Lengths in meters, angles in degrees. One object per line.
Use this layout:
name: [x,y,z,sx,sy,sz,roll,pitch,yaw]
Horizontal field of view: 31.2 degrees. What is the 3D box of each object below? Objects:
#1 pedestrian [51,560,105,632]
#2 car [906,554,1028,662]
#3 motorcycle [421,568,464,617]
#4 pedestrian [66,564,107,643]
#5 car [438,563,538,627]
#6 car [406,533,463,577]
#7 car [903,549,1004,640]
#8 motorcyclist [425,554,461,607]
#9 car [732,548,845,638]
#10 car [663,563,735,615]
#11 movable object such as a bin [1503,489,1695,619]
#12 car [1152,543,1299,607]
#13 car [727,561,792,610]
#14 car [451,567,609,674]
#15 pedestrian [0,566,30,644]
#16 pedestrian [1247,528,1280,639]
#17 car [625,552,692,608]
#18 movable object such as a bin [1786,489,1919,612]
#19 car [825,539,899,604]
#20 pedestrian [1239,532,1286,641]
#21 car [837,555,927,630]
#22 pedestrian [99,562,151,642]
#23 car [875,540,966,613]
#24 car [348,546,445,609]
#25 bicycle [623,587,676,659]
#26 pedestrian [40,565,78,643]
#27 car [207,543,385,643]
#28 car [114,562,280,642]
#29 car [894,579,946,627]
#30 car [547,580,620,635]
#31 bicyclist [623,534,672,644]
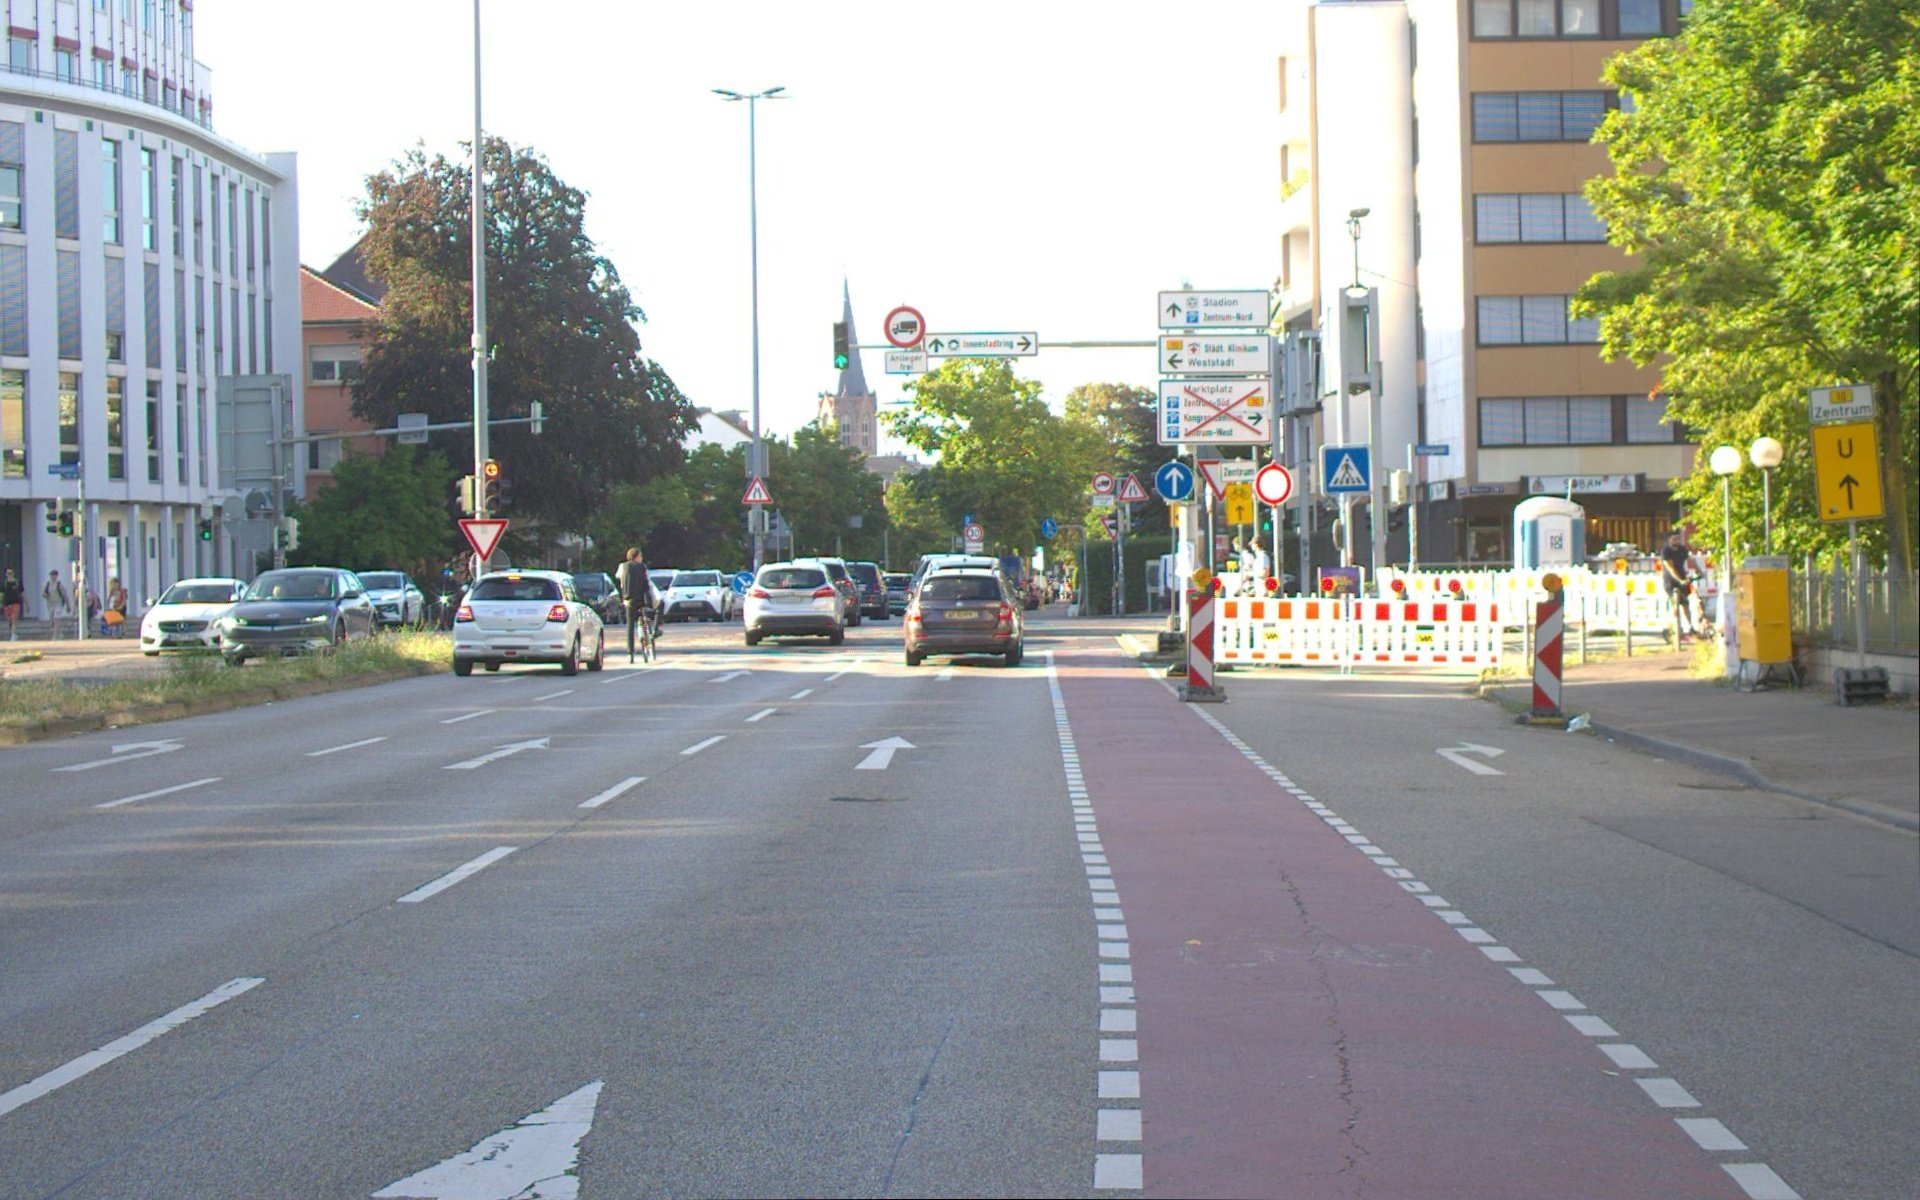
pedestrian: [-24.906,-0.119,97.042,1.092,2.007,1.035,-1,0,12]
car: [0.138,0.097,52.616,1.748,1.559,4.050,-1,1,1]
motorcycle: [-14.016,-0.219,93.100,0.770,1.280,2.843,-1,1,-1]
pedestrian: [-20.695,0.079,81.435,0.660,1.862,0.778,-1,0,7]
car: [-10.892,-0.137,79.550,1.685,1.387,4.181,-1,1,1]
car: [-19.145,-1.631,125.337,1.841,1.566,4.001,-1,0,-6]
car: [-0.124,-0.119,64.616,1.819,1.634,4.000,-1,1,0]
motorcyclist: [-14.020,-0.537,93.232,0.770,1.414,1.238,-1,0,-1]
car: [-3.119,-0.150,63.227,1.748,1.559,4.050,-1,1,1]
car: [-7.543,-0.339,99.602,1.847,1.456,4.050,-1,1,-2]
movable object such as a bin: [12.076,-0.864,65.085,3.328,2.375,1.529,-1,0,0]
car: [8.265,-0.779,107.276,4.363,1.871,2.000,-1,0,0]
car: [-6.123,-0.455,105.134,1.847,1.456,4.050,-1,1,-2]
car: [-6.149,0.262,49.533,1.685,1.452,4.000,0,1,1]
pedestrian: [-22.581,0.114,82.001,0.660,1.852,0.779,-1,0,-11]
pedestrian: [5.158,-0.277,58.376,0.520,1.862,0.614,-1,0,6]
car: [-9.970,-0.676,113.953,1.915,1.805,4.718,-1,1,-2]
movable object such as a bin: [20.167,-1.049,71.346,5.349,2.482,2.549,-1,0,-1]
car: [-2.554,-0.756,90.273,1.664,1.652,4.000,-1,1,2]
pedestrian: [5.067,-0.231,57.519,0.741,1.793,0.715,-1,0,6]
car: [-1.668,-0.192,75.001,1.748,1.559,4.050,-1,1,1]
pedestrian: [-19.776,0.038,81.439,0.627,1.862,1.126,-1,0,22]
car: [-0.902,-0.518,79.656,1.993,1.503,4.000,-2,-1,0]
car: [-13.975,-0.568,85.466,1.685,1.493,4.514,-1,1,-1]
bicycle: [-4.924,0.351,54.597,0.699,1.096,2.258,-1,0,-2]
pedestrian: [-21.527,0.086,82.166,0.758,1.836,0.818,-1,0,-9]
car: [-11.076,-0.129,57.655,1.993,1.573,4.899,-1,1,0]
car: [-14.517,0.020,65.622,1.993,1.408,4.443,-2,1,2]
car: [-1.428,0.103,122.766,1.664,1.652,4.000,-1,1,2]
car: [-10.664,0.196,97.543,1.658,1.489,4.000,-1,1,-1]
bicyclist: [-4.942,-0.177,54.483,0.691,1.722,0.988,-1,0,-2]
